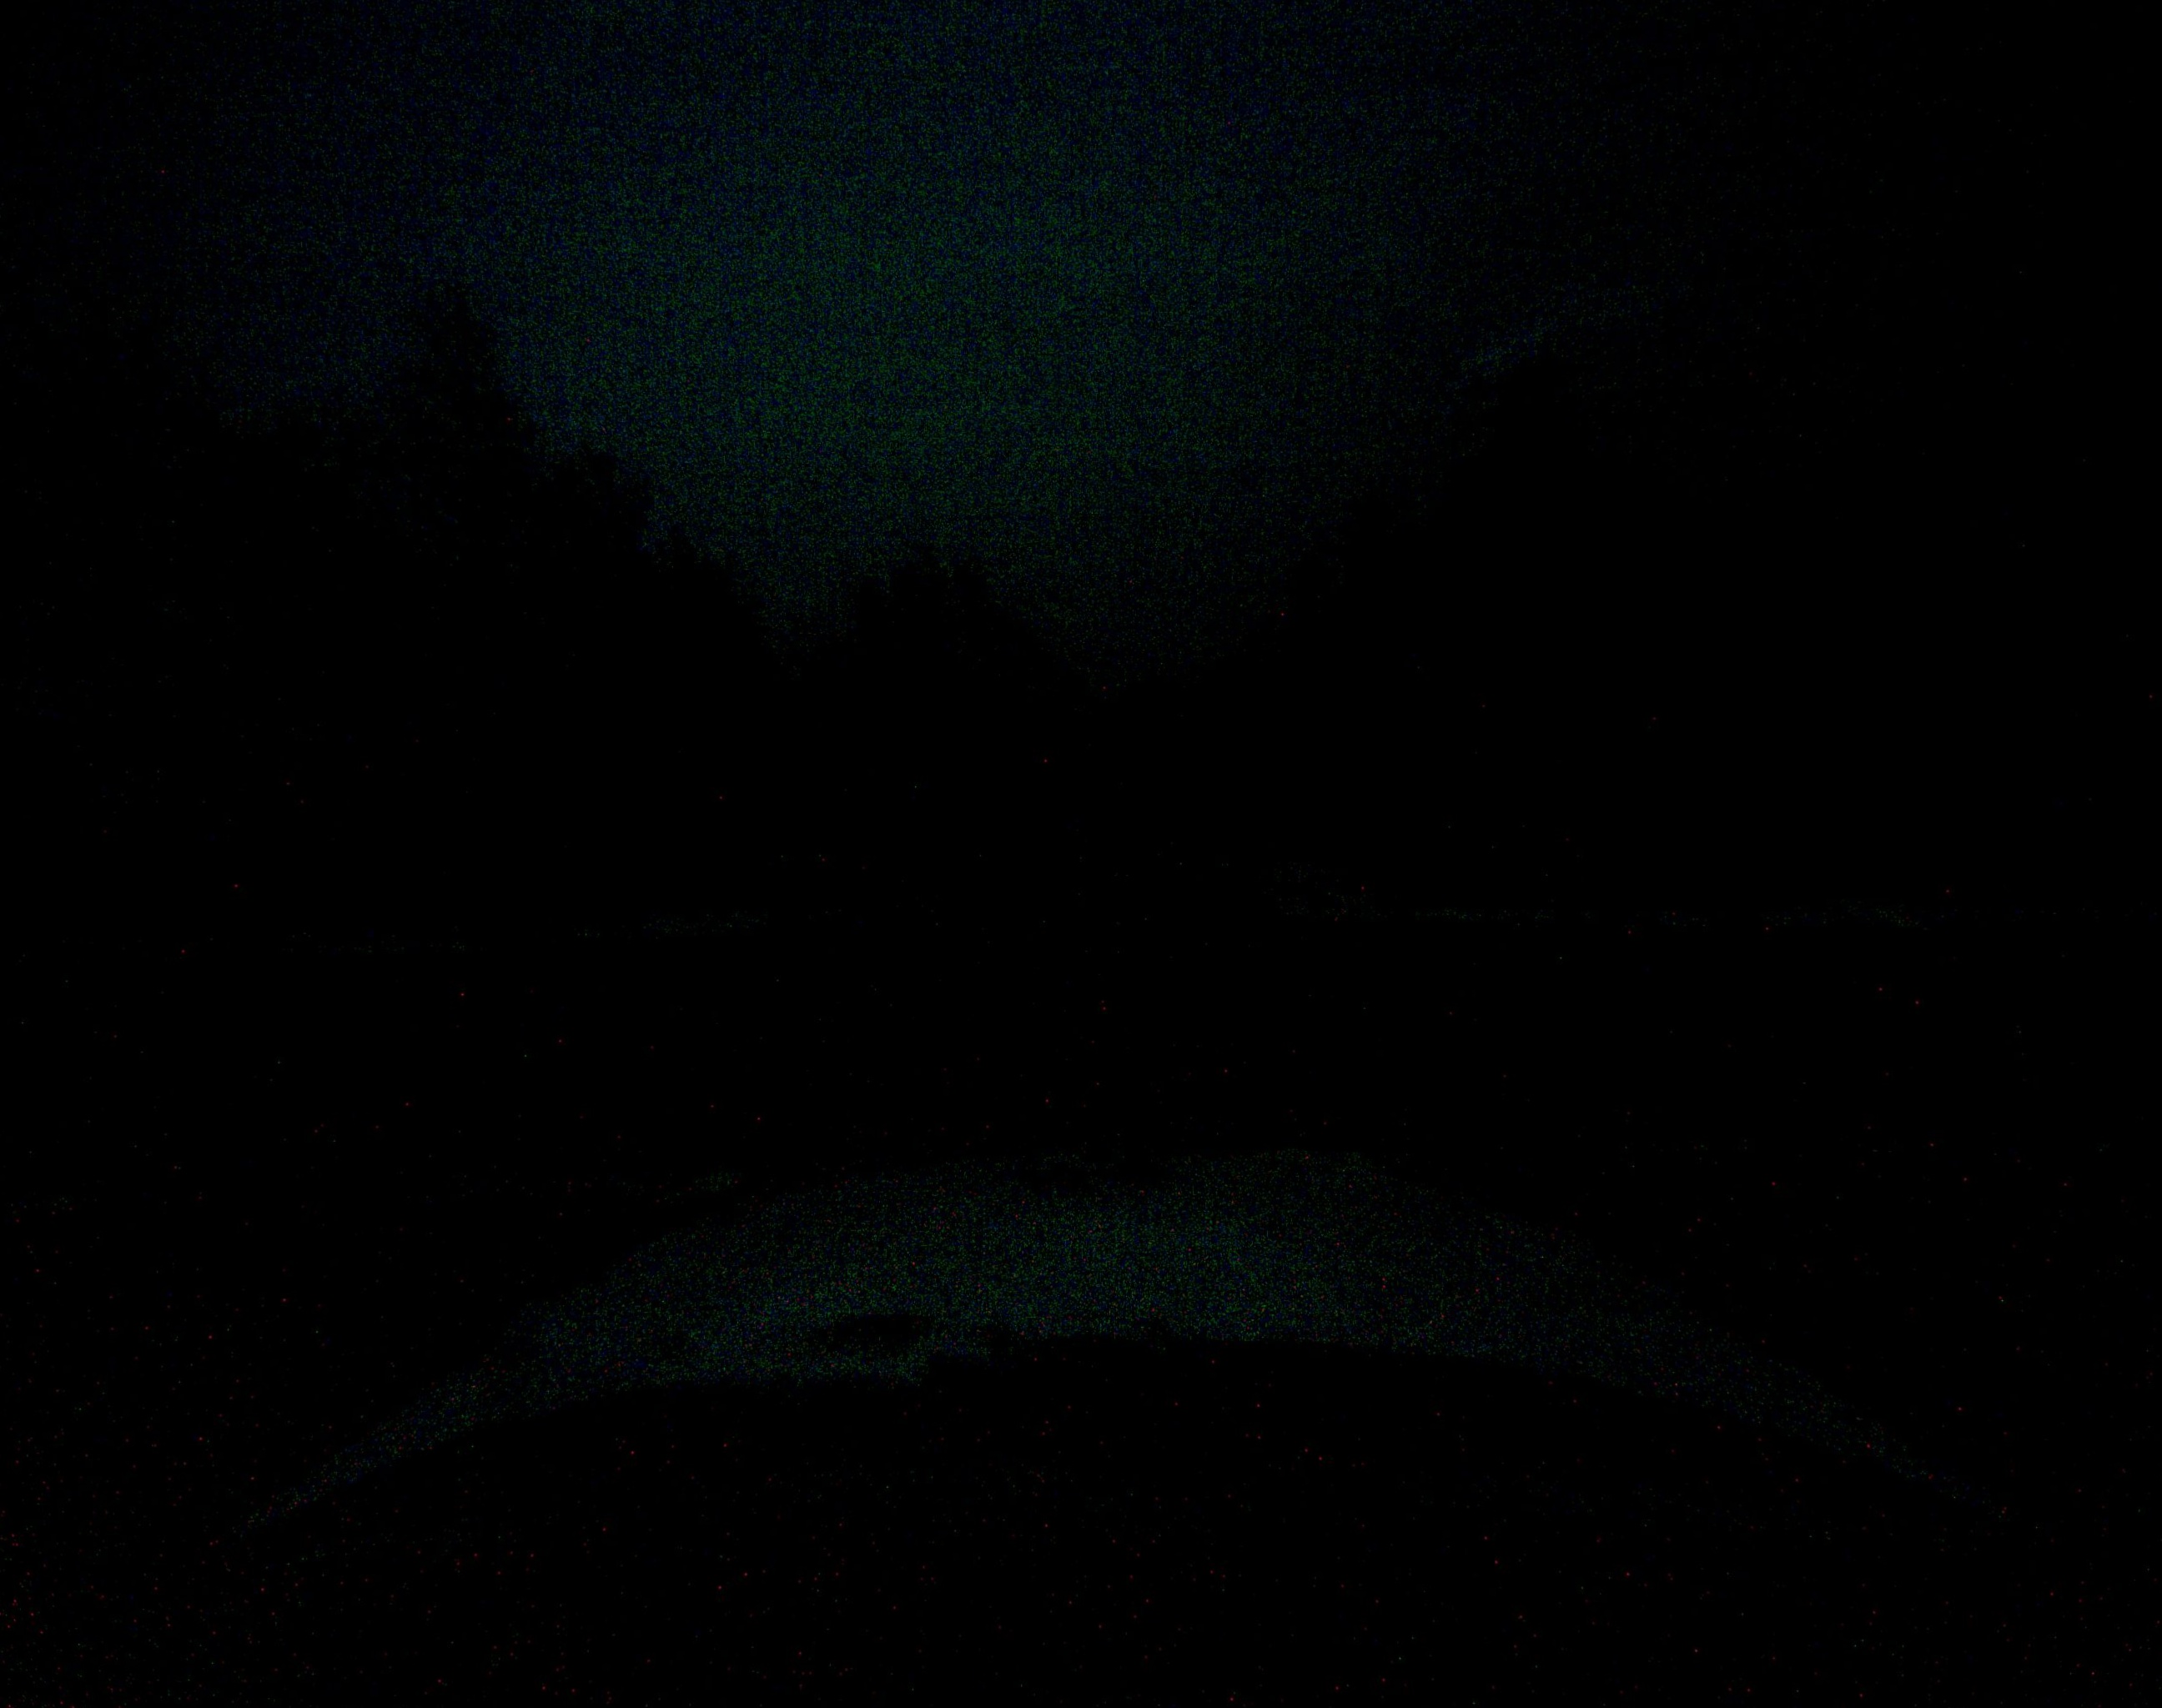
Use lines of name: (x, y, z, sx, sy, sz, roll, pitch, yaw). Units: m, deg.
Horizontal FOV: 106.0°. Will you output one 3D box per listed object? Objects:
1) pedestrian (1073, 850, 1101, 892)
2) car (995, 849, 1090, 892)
pedestrian: (0.265, 0.760, 36.612, 0.952, 1.828, 0.930, -1, -2, 23)
car: (-1.768, 0.772, 37.796, 3.915, 1.881, 2.009, 0, -2, 18)
